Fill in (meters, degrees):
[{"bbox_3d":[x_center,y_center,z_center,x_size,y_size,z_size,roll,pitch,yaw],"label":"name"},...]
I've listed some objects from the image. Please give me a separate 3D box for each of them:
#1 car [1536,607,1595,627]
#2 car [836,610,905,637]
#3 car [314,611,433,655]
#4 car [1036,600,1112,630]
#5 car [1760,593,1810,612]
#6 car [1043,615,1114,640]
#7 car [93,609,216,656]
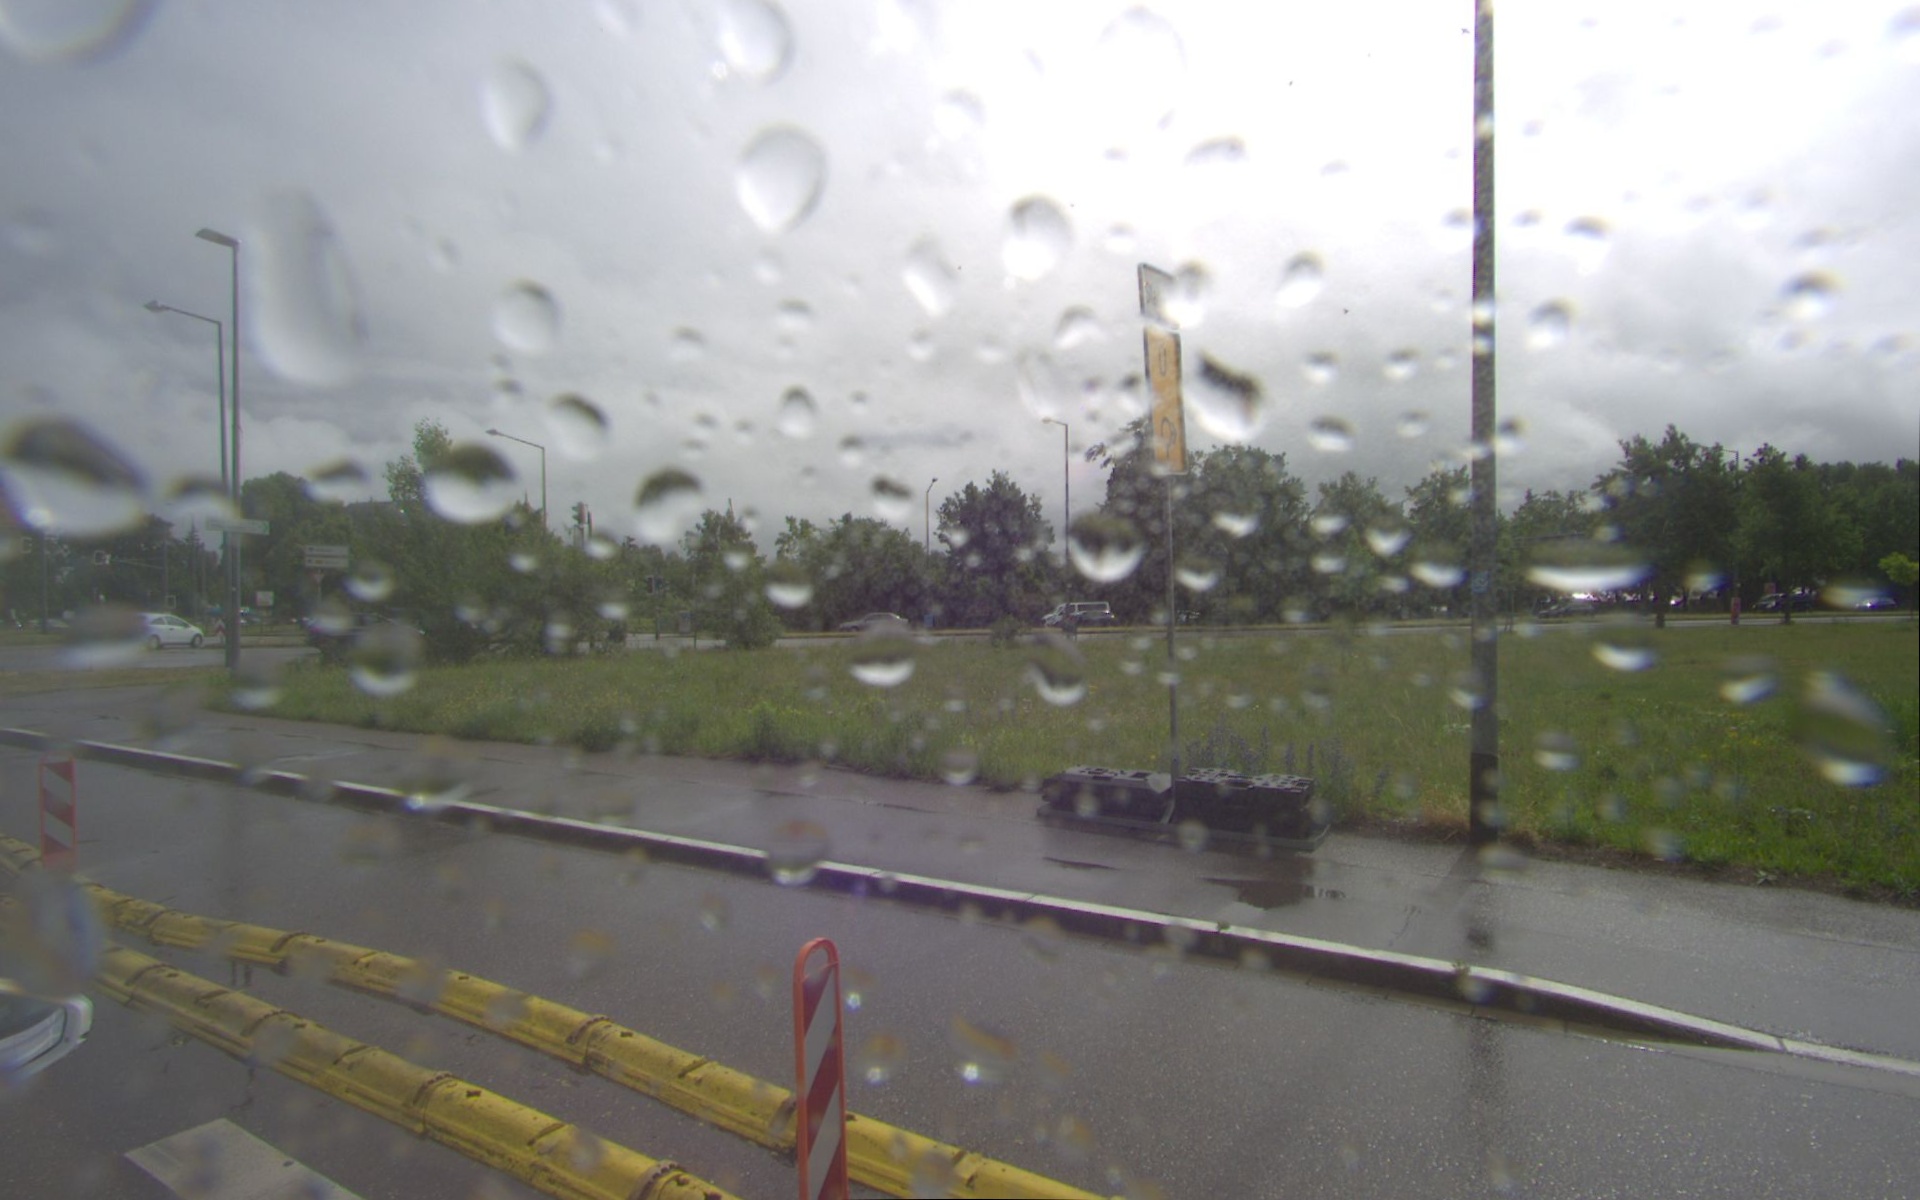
[{"bbox_3d":[48.342,1.342,79.923,4.158,1.579,1.541,0,0,-14],"label":"car"},{"bbox_3d":[-5.568,1.432,62.043,4.038,1.581,1.912,0,0,-12],"label":"car"},{"bbox_3d":[-23.135,1.271,39.534,3.907,1.666,1.658,0,0,-38],"label":"car"},{"bbox_3d":[7.839,1.024,68.964,4.873,1.944,1.996,0,0,-17],"label":"car"},{"bbox_3d":[70.527,0.239,85.571,3.459,1.579,1.541,0,0,-14],"label":"car"},{"bbox_3d":[7.731,1.772,65.458,4.227,1.581,1.911,0,0,-14],"label":"car"},{"bbox_3d":[-33.521,1.329,41.844,1.961,1.854,4.000,0,0,-2],"label":"car"}]
